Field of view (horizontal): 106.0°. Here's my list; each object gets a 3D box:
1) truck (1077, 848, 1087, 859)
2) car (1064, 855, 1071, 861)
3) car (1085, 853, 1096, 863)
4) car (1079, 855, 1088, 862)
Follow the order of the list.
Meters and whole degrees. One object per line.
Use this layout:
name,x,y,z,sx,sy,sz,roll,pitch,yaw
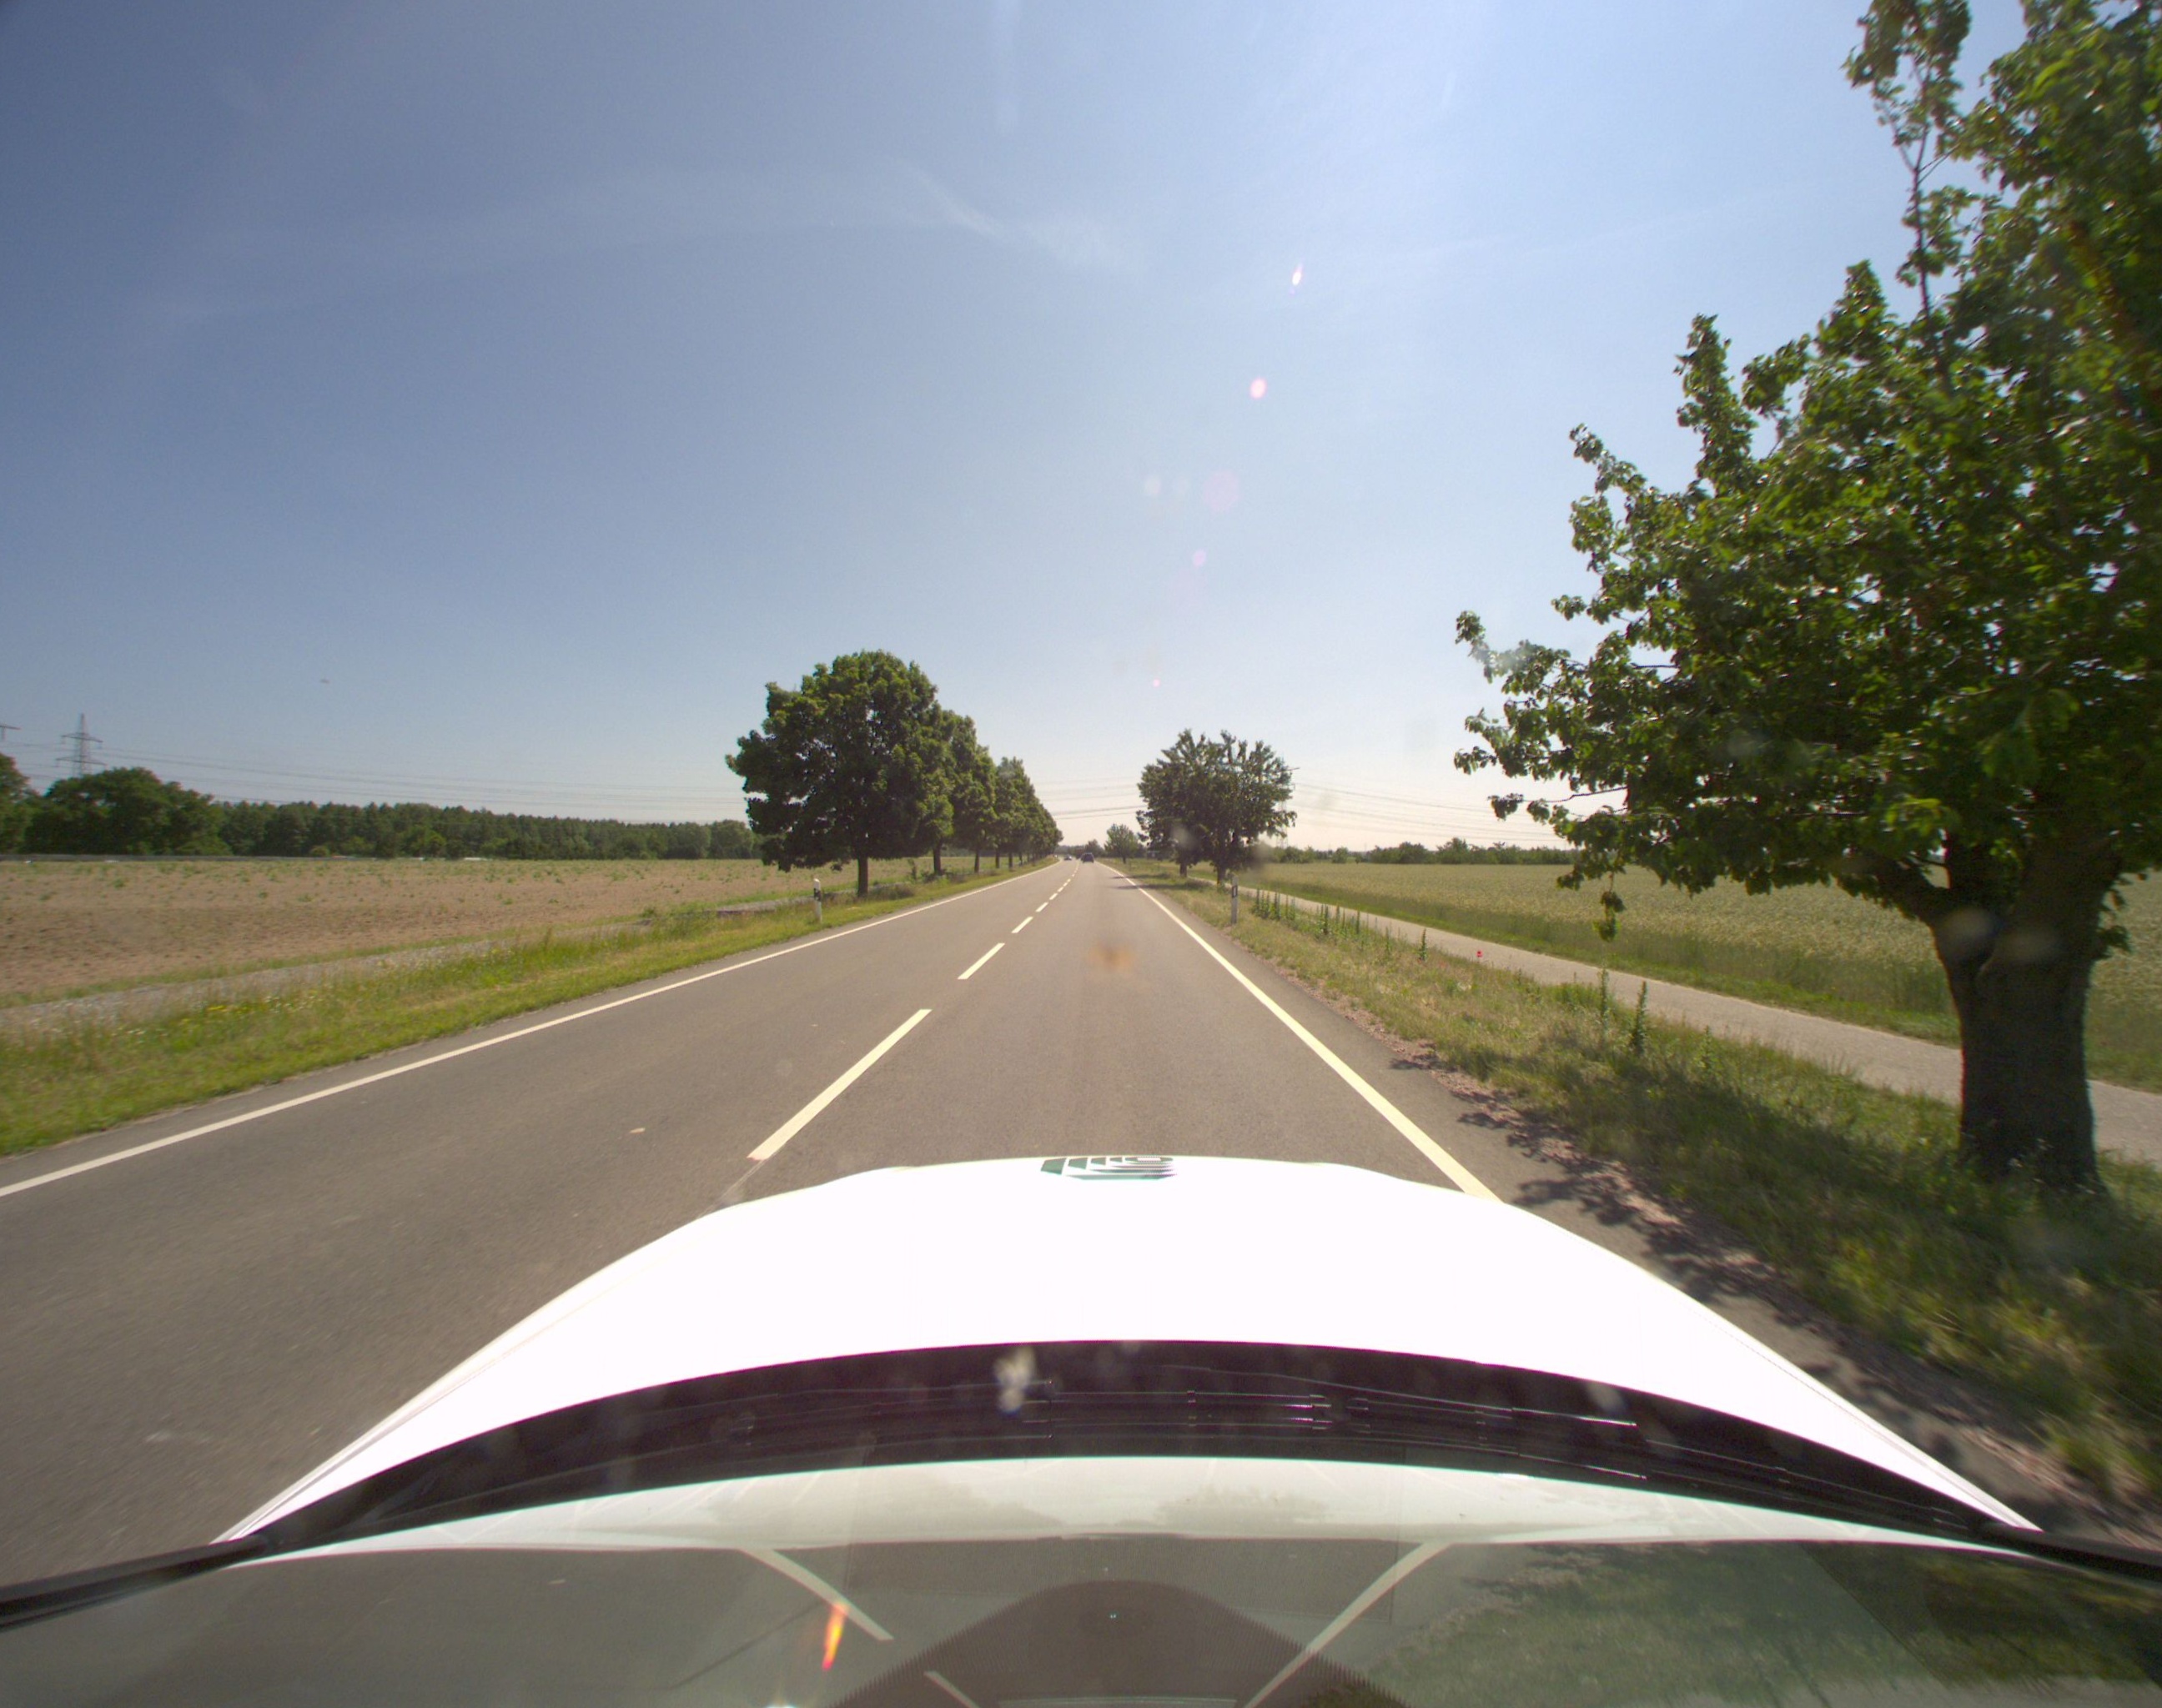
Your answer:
truck,0.361,-0.180,241.656,2.366,3.140,8.734,0,0,-4
car,-3.270,0.860,198.948,1.816,1.420,4.588,-1,0,0
car,1.647,0.755,142.672,1.709,1.694,3.987,-1,0,0
car,0.545,1.093,181.585,1.847,1.523,3.995,-1,0,-3
